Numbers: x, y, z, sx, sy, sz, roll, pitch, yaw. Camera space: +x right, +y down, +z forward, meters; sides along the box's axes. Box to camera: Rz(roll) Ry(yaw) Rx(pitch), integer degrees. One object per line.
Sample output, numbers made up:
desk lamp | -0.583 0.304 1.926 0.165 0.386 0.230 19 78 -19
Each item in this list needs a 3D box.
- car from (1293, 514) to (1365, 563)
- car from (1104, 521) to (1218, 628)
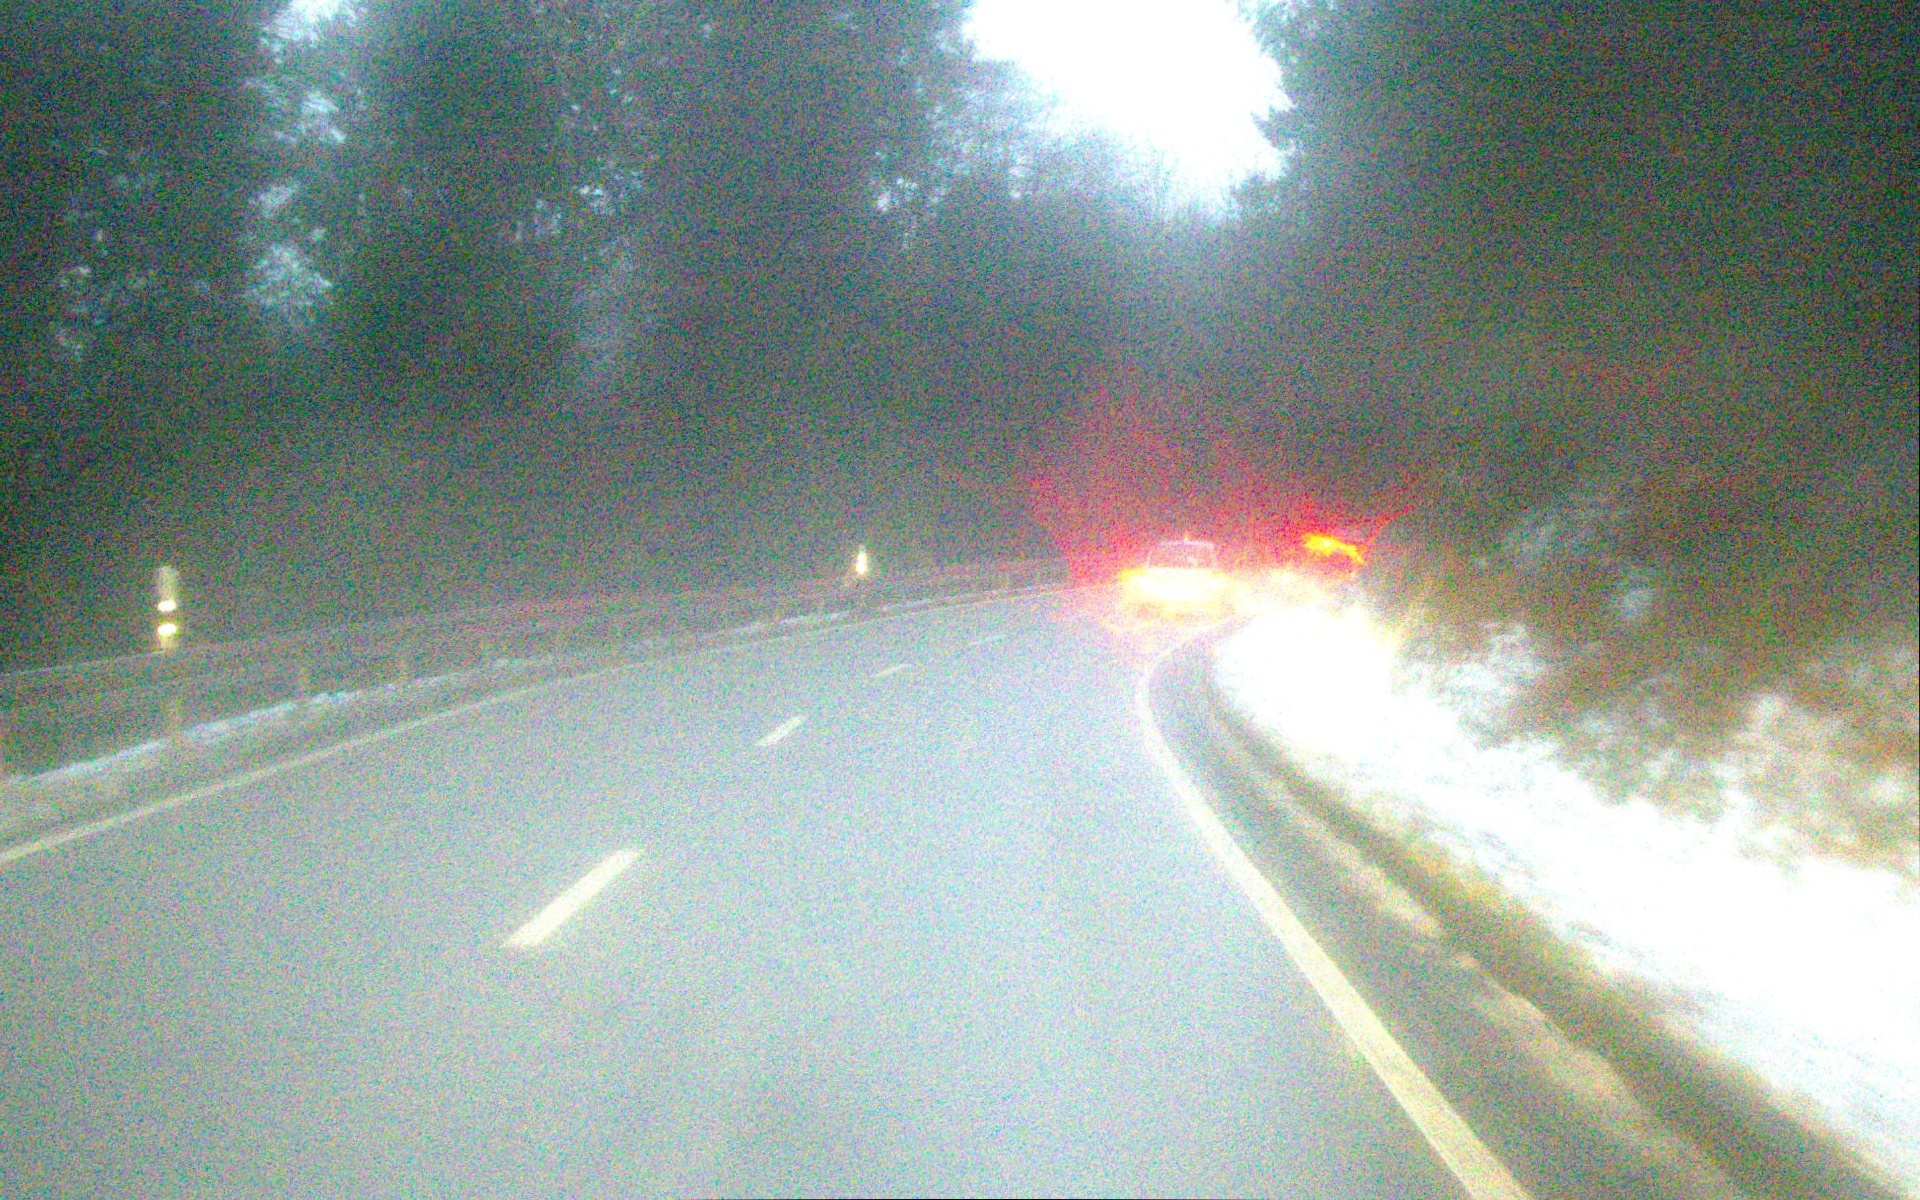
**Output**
car | 10.765 -1.811 100.086 1.994 1.305 3.999 -2 1 7
car | 3.772 -0.508 64.671 1.994 1.866 4.000 -2 1 3
